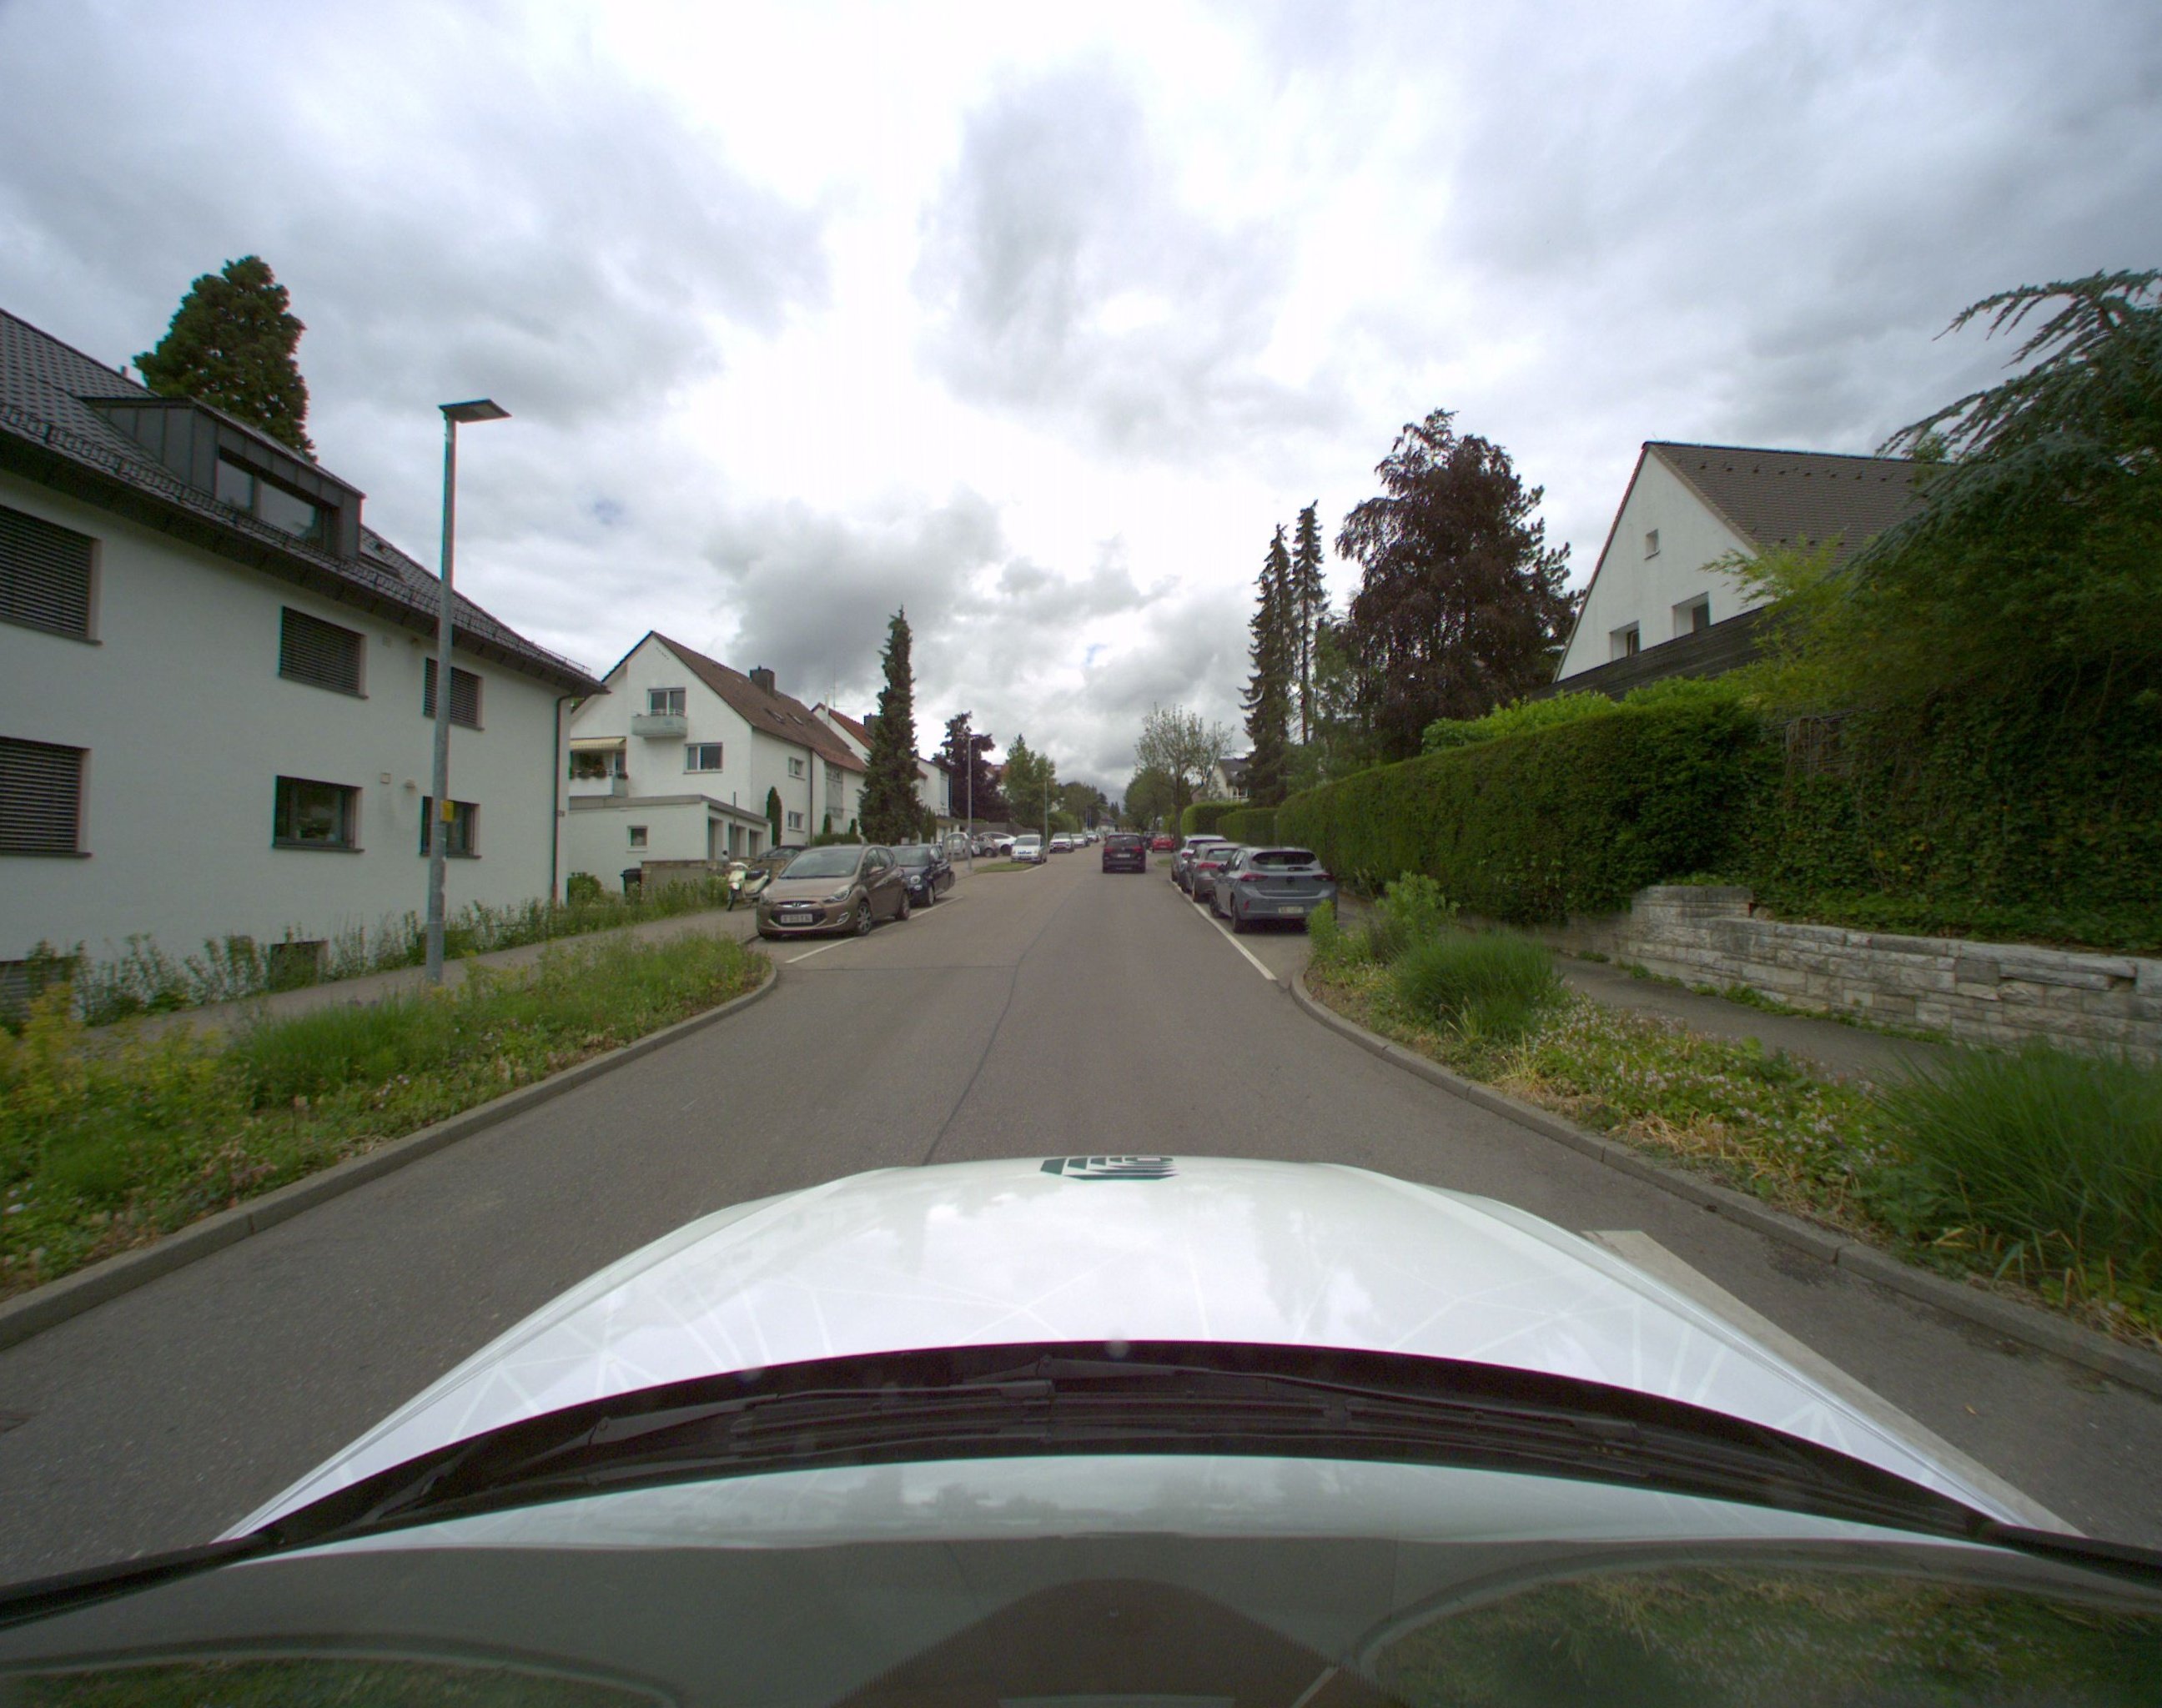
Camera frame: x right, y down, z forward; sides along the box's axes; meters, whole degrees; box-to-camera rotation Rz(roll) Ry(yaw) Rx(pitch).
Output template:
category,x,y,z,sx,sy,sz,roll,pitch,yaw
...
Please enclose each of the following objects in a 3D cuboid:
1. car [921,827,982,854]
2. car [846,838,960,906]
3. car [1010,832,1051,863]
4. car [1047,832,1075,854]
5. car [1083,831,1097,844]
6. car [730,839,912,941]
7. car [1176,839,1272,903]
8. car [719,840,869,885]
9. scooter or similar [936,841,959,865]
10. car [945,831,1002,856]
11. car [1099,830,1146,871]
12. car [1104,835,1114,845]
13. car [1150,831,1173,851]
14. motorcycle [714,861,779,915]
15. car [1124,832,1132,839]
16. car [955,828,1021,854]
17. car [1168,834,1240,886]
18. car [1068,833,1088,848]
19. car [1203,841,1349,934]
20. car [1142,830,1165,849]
category,x,y,z,sx,sy,sz,roll,pitch,yaw
car,-8.094,-0.815,51.142,3.413,1.578,1.659,2,0,4
car,-4.375,0.376,20.575,1.869,1.536,3.511,-1,1,4
car,-2.749,-0.408,44.978,1.753,1.562,3.859,-2,1,3
car,-1.593,-0.940,66.687,1.829,1.666,4.414,-2,1,4
car,1.220,-2.236,109.825,1.716,1.540,4.002,-2,2,1
car,-4.587,0.545,15.050,1.869,1.584,3.876,-1,1,4
car,3.561,0.354,21.006,1.848,1.464,4.174,0,1,2
car,-9.435,0.243,27.055,4.275,1.367,1.903,-1,2,-2
scooter or similar,-6.602,-0.063,40.378,0.470,1.148,1.462,2,2,19
car,-7.116,-0.688,54.155,3.413,1.512,1.695,2,0,4
car,1.793,-0.186,34.314,1.839,1.611,4.317,0,1,4
car,5.762,-2.841,164.500,1.877,1.850,4.406,-1,1,3
car,6.329,-1.012,64.125,1.654,1.508,3.763,-1,2,4
motorcycle,-7.835,0.765,19.156,0.426,1.161,1.868,-2,0,11
car,11.125,-4.422,191.328,1.660,1.668,3.467,0,2,-1
car,-6.568,-0.934,57.855,4.394,1.628,1.912,2,1,2
car,3.943,0.130,26.763,1.848,1.582,4.174,0,1,2
car,-0.286,-1.468,85.371,1.830,1.422,4.412,-2,1,3
car,3.419,0.503,15.052,1.848,1.464,4.002,0,1,2
car,6.508,-1.291,73.780,1.984,1.617,4.519,1,1,4
